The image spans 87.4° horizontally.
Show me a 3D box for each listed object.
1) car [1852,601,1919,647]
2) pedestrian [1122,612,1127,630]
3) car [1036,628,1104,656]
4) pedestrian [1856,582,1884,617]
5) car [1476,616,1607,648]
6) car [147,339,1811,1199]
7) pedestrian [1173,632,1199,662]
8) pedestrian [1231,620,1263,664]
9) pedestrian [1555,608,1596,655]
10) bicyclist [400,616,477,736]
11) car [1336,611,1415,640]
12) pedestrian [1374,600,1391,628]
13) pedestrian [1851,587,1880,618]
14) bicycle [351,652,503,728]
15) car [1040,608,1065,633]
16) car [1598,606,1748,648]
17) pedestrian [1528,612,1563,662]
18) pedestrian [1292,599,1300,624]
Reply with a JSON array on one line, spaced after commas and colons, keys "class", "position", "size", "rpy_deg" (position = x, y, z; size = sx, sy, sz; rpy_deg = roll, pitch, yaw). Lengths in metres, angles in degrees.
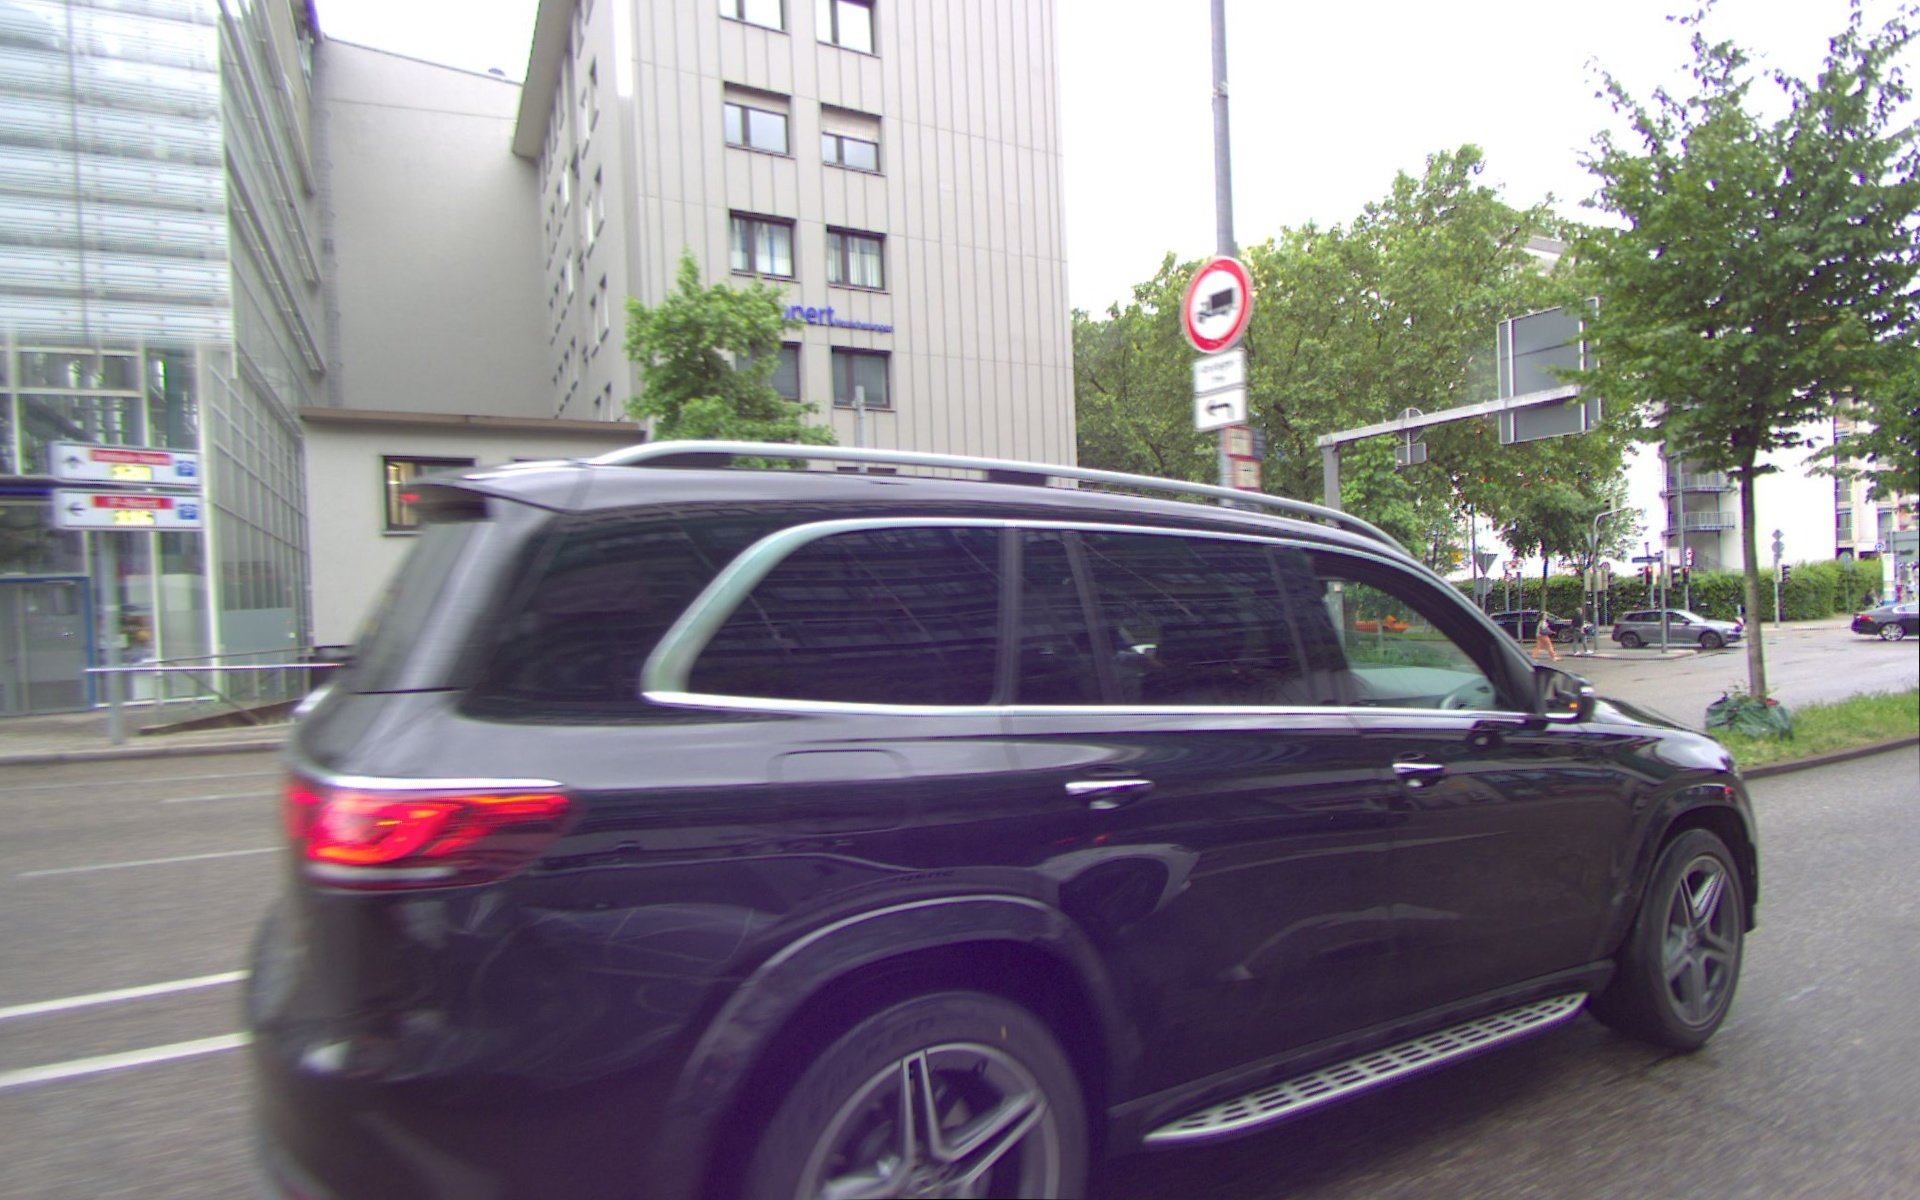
[{"class": "car", "position": [35.989, 0.891, 36.988], "size": [4.634, 1.665, 1.776], "rpy_deg": [1, 0, 45]}, {"class": "pedestrian", "position": [13.244, 1.675, 80.853], "size": [0.366, 1.446, 0.377], "rpy_deg": [0, -2, -2]}, {"class": "car", "position": [7.269, 2.789, 66.926], "size": [1.944, 1.782, 4.562], "rpy_deg": [1, -3, -36]}, {"class": "pedestrian", "position": [48.867, -0.039, 53.967], "size": [0.888, 1.826, 0.628], "rpy_deg": [-1, -2, 18]}, {"class": "car", "position": [26.732, 1.460, 46.311], "size": [1.752, 1.289, 4.949], "rpy_deg": [1, 0, -43]}, {"class": "car", "position": [0.531, 0.606, 3.331], "size": [4.737, 1.841, 2.077], "rpy_deg": [0, 1, -31]}, {"class": "pedestrian", "position": [10.094, 2.092, 44.811], "size": [0.935, 1.289, 0.758], "rpy_deg": [-2, -2, 32]}, {"class": "pedestrian", "position": [11.656, 1.717, 40.777], "size": [0.937, 1.745, 0.757], "rpy_deg": [0, -2, -19]}, {"class": "pedestrian", "position": [23.217, 1.192, 37.927], "size": [1.035, 1.731, 0.813], "rpy_deg": [-1, -2, 7]}, {"class": "bicyclist", "position": [-8.396, 1.204, 16.188], "size": [0.982, 1.854, 0.663], "rpy_deg": [1, -3, -38]}, {"class": "car", "position": [24.342, 1.474, 58.974], "size": [1.762, 1.638, 3.959], "rpy_deg": [1, -1, -43]}, {"class": "pedestrian", "position": [27.476, 0.933, 65.309], "size": [0.824, 1.802, 0.611], "rpy_deg": [0, -2, -37]}, {"class": "pedestrian", "position": [47.736, 0.141, 52.954], "size": [0.908, 1.629, 0.564], "rpy_deg": [-1, -2, 18]}, {"class": "bicycle", "position": [-8.514, 1.407, 16.092], "size": [2.053, 1.114, 0.673], "rpy_deg": [2, -3, -39]}, {"class": "car", "position": [8.009, 1.756, 86.876], "size": [1.959, 2.040, 4.003], "rpy_deg": [0, -1, 8]}, {"class": "car", "position": [28.119, 1.013, 39.708], "size": [1.928, 1.502, 4.547], "rpy_deg": [1, 0, -43]}, {"class": "pedestrian", "position": [21.269, 1.340, 36.494], "size": [0.860, 1.803, 0.708], "rpy_deg": [-1, -2, 13]}, {"class": "pedestrian", "position": [23.517, 0.792, 70.295], "size": [0.496, 1.732, 0.618], "rpy_deg": [-1, -2, 16]}]
